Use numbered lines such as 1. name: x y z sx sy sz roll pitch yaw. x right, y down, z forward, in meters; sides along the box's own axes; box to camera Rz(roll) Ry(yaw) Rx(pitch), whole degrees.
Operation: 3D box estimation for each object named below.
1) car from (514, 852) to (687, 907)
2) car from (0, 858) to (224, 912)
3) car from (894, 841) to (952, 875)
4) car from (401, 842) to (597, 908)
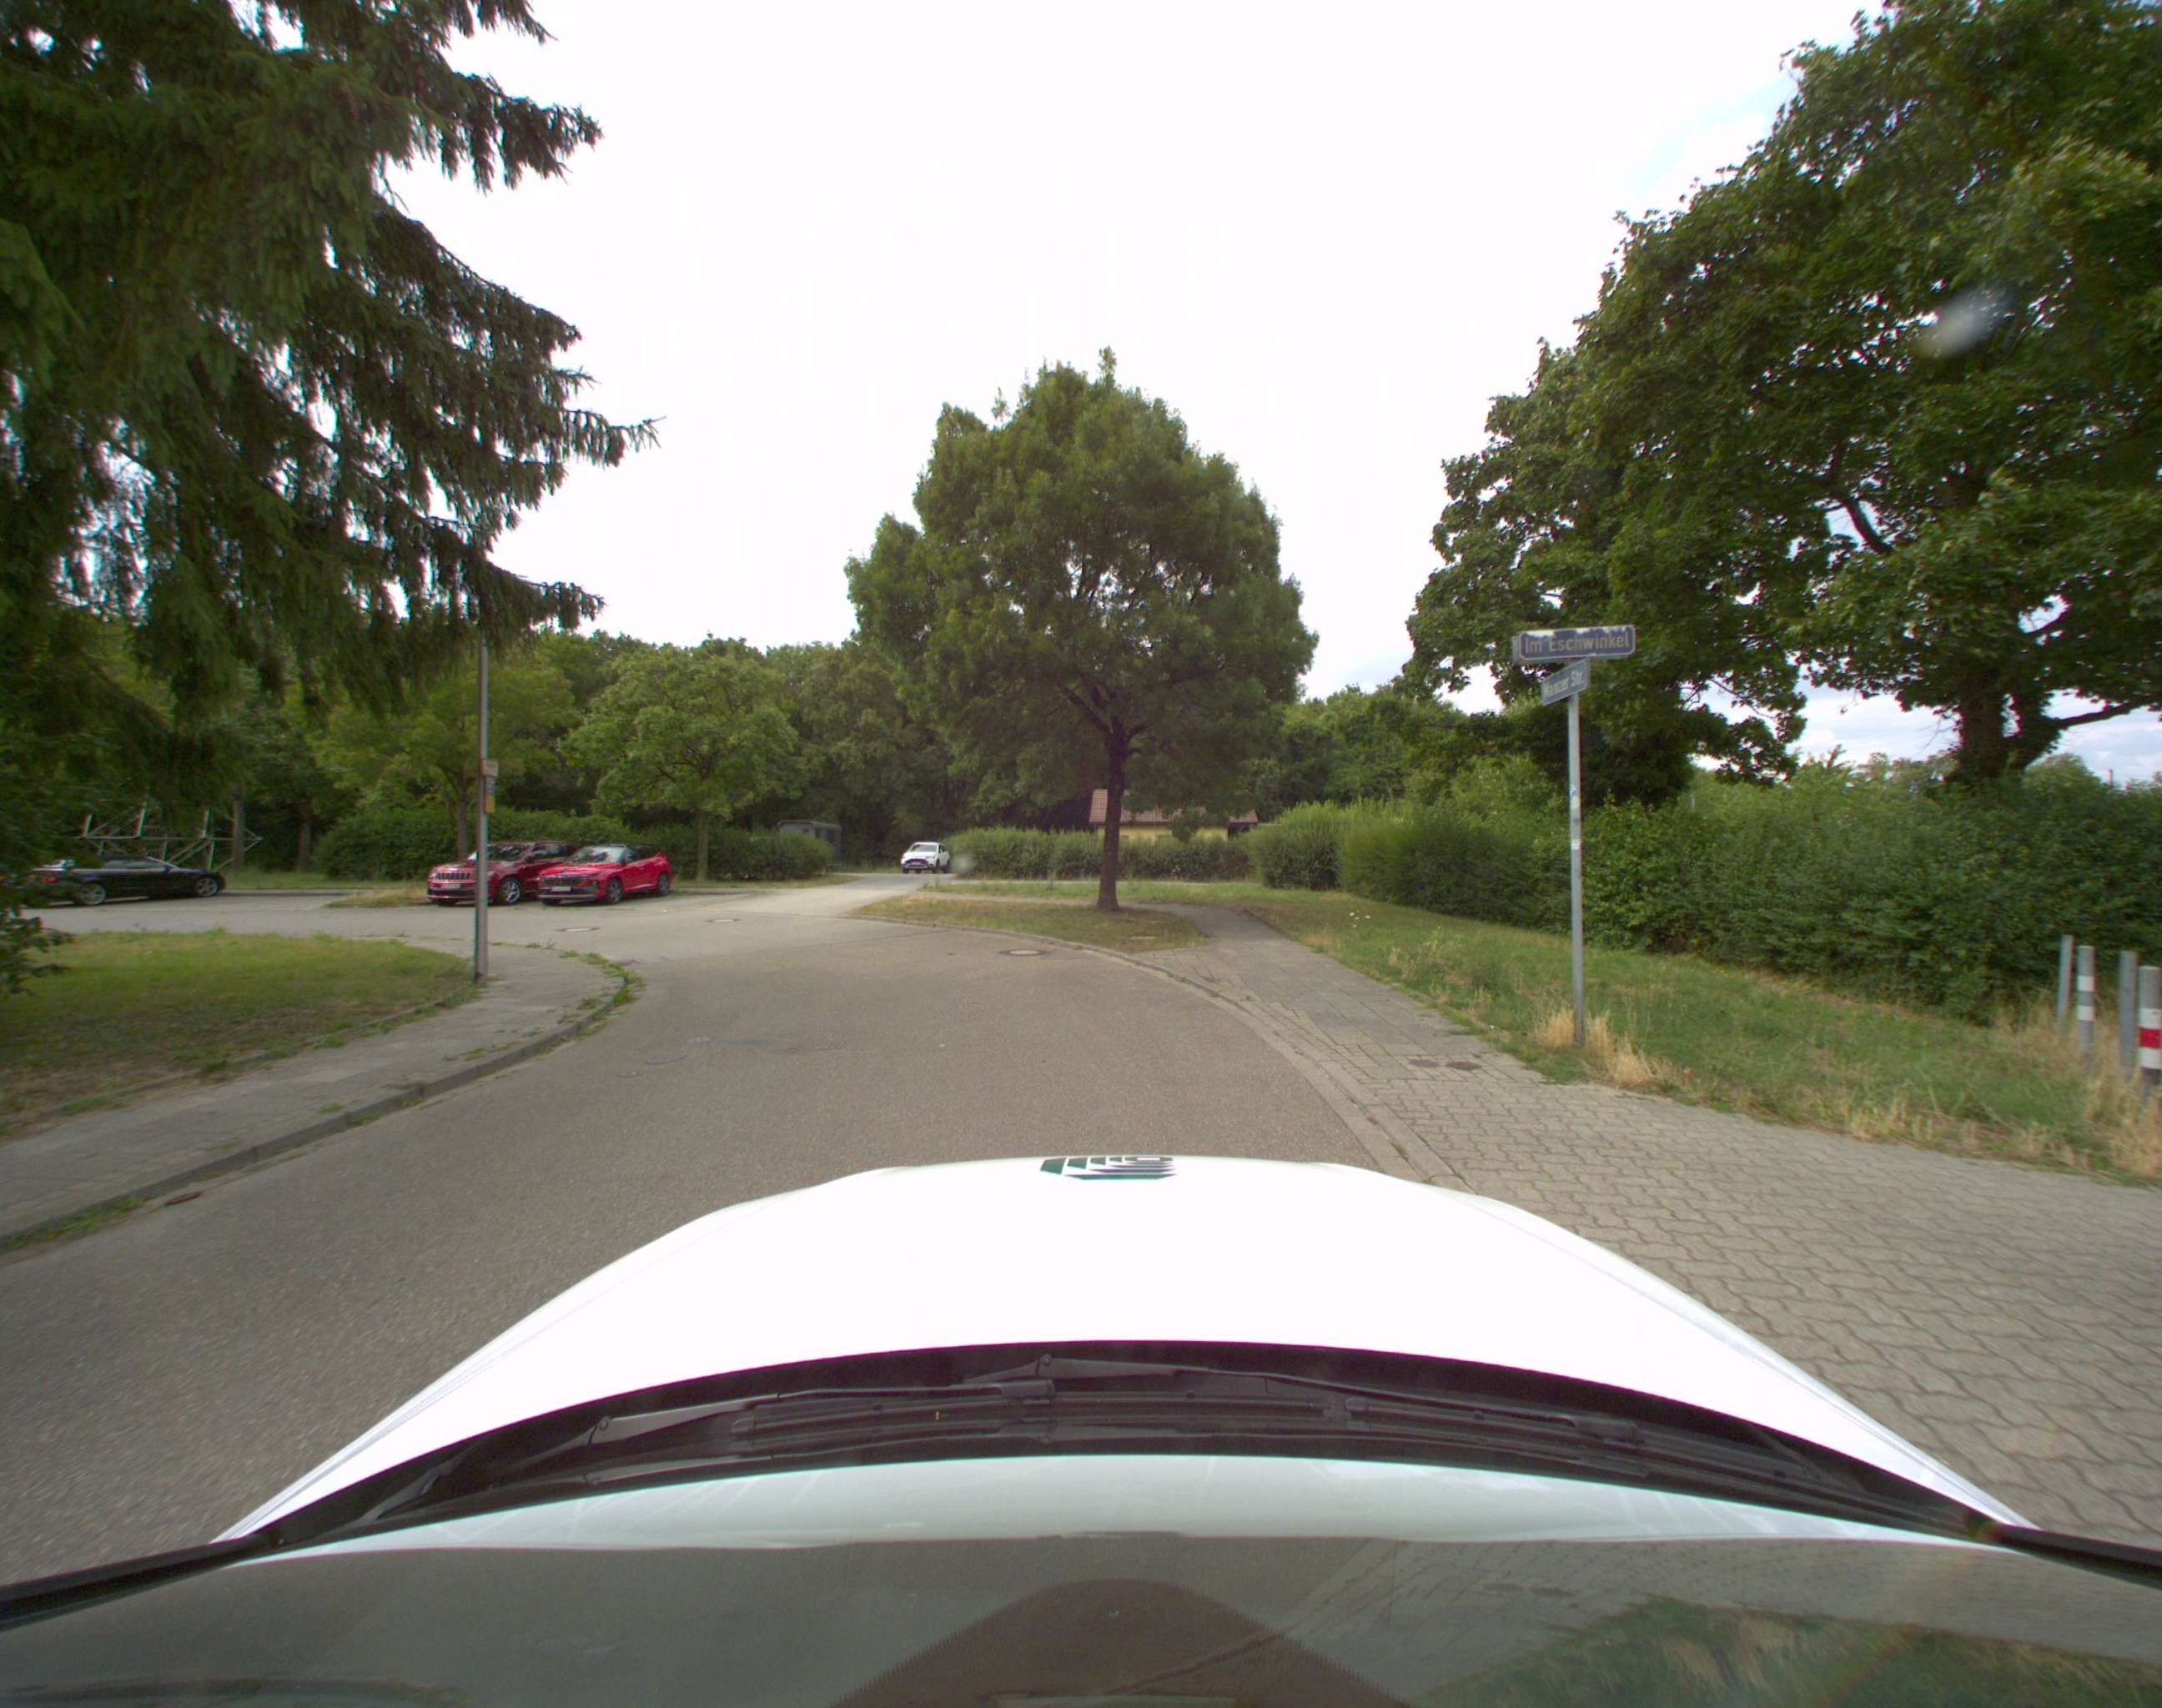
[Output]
1. car: -13.492 0.655 23.284 1.986 1.290 4.696 -1 1 2
2. car: -28.551 0.836 24.025 1.980 1.394 4.013 0 0 11
3. car: -8.183 0.197 42.586 1.929 1.660 4.344 0 0 3
4. car: -16.264 0.527 23.149 2.083 1.686 4.695 0 0 2
